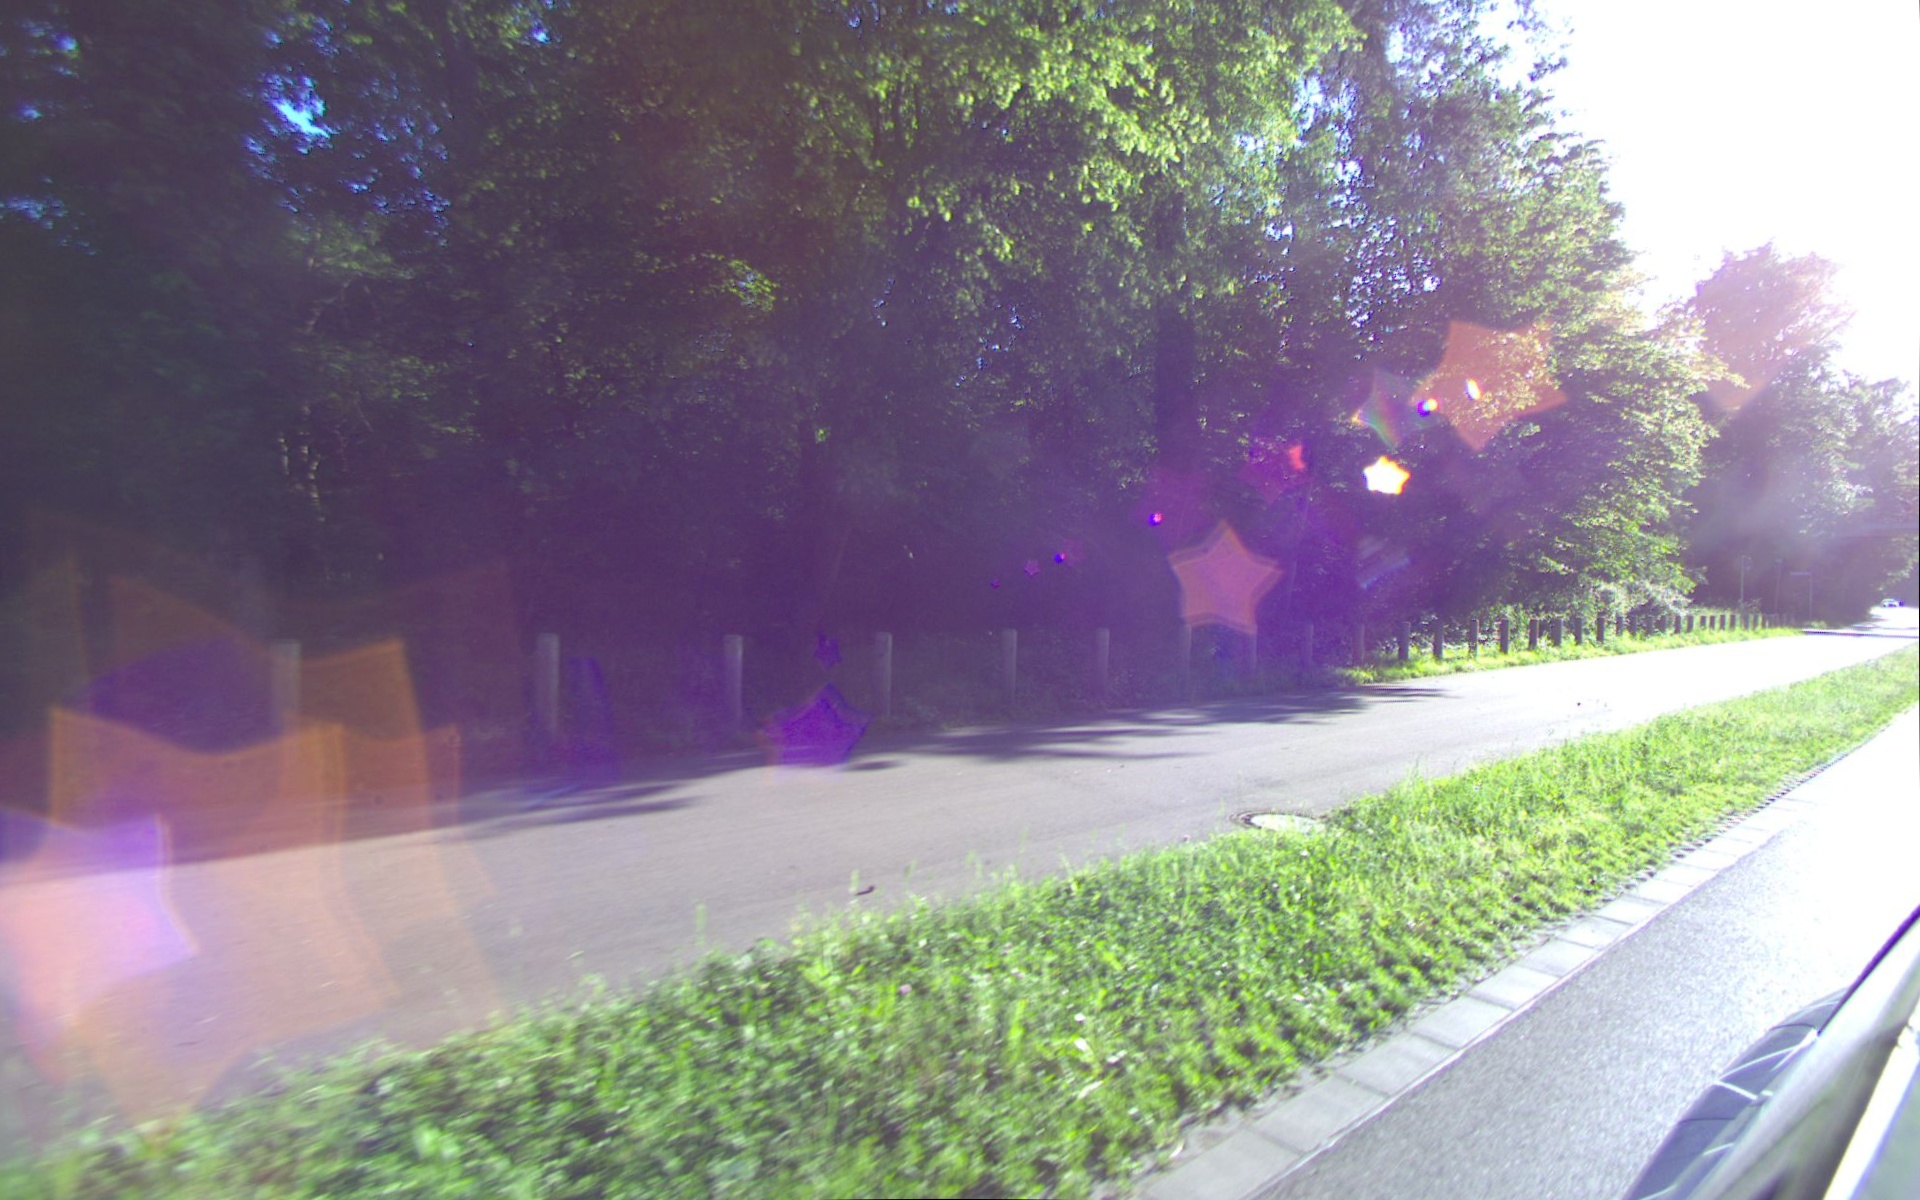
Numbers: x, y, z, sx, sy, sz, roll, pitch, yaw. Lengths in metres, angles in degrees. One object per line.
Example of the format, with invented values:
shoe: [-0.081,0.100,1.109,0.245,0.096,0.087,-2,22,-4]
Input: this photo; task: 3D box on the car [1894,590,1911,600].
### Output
car: [166.159,-0.873,178.438,1.818,1.705,3.945,2,2,38]
